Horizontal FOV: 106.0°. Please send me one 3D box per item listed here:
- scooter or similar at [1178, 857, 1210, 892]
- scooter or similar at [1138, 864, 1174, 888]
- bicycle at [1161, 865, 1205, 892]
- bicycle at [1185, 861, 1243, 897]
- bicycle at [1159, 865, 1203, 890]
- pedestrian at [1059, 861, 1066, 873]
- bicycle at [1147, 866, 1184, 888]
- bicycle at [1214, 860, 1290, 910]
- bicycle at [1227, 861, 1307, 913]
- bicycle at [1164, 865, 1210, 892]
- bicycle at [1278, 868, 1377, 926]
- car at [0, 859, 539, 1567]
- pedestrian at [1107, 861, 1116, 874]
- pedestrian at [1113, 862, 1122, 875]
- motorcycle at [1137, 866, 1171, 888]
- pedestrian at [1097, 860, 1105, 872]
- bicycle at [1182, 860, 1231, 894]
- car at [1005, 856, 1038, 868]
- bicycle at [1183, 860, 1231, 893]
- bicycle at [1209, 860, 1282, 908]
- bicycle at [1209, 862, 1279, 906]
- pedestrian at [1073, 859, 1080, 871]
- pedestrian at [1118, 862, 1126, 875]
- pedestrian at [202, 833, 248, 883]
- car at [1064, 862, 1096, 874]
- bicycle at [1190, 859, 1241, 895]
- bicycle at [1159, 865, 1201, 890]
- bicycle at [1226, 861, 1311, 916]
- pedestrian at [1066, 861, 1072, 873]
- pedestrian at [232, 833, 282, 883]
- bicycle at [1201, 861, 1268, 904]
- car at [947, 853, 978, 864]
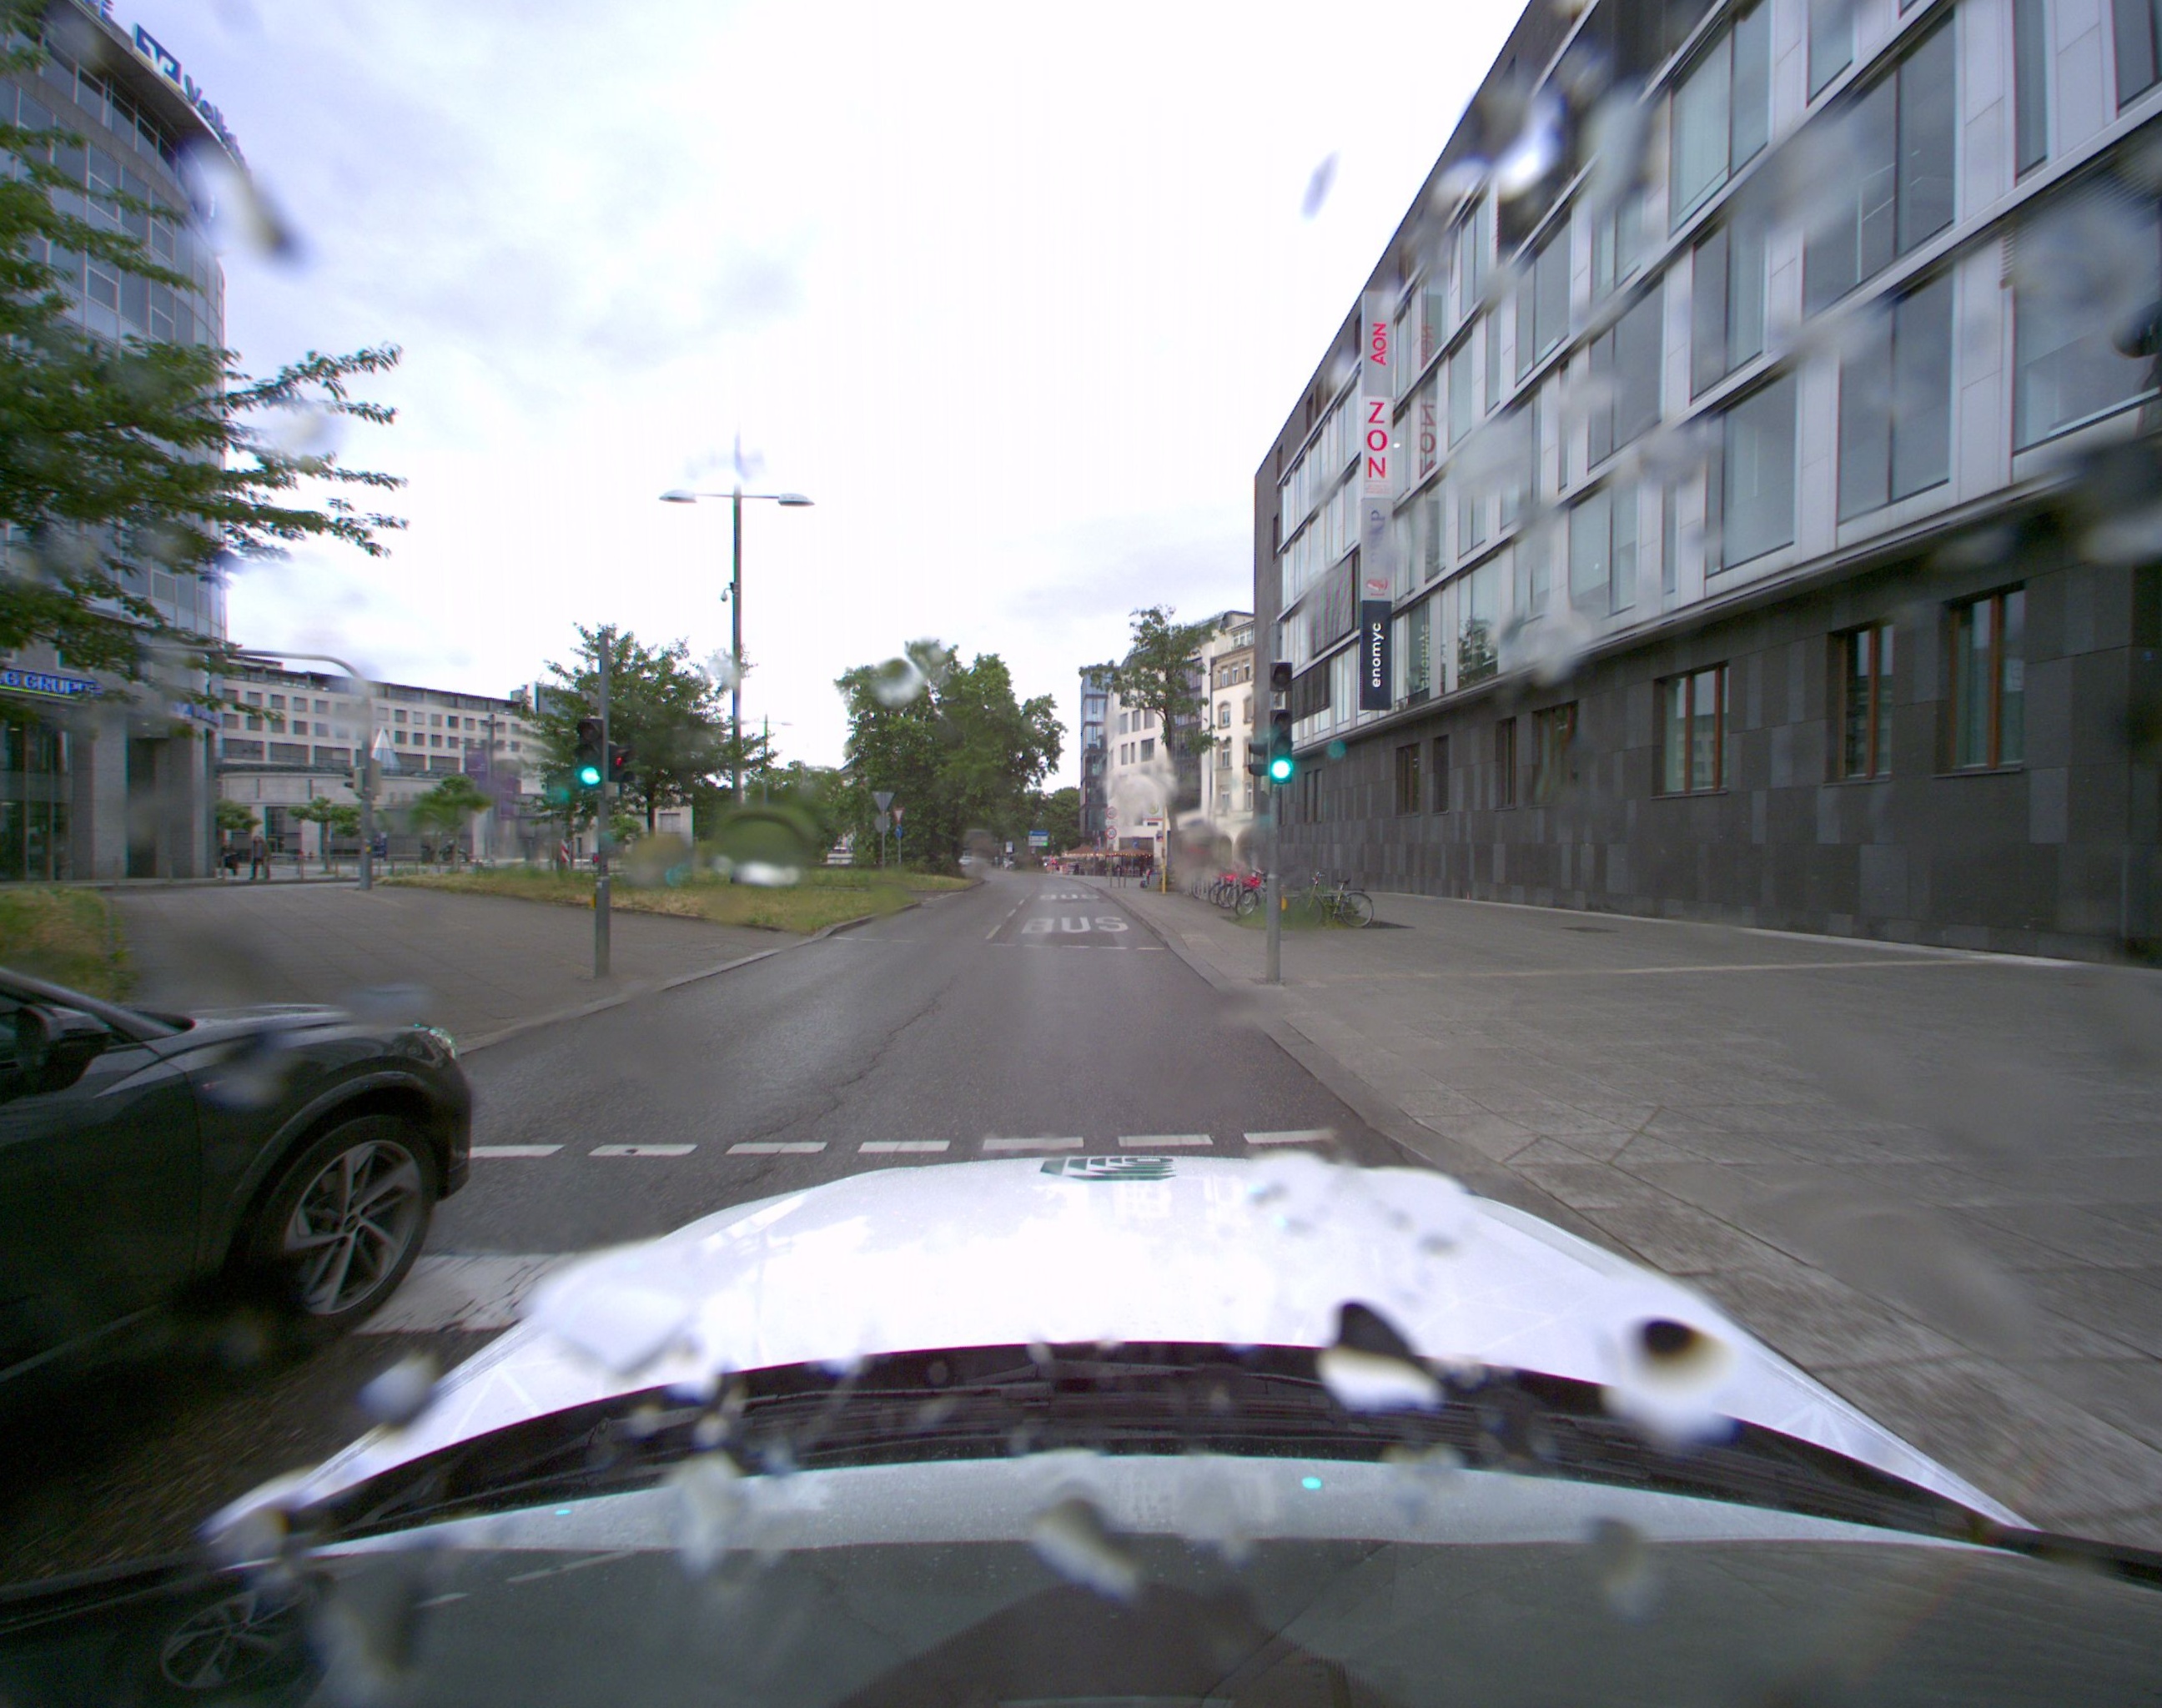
[{"bbox_3d":[4.093,0.734,29.589,1.105,1.258,0.301,0,-2,-9],"label":"scooter or similar"},{"bbox_3d":[4.061,1.186,44.110,1.790,1.243,0.594,2,-2,-8],"label":"scooter or similar"},{"bbox_3d":[4.341,1.045,34.765,1.792,1.068,0.555,2,-2,-7],"label":"bicycle"},{"bbox_3d":[4.232,0.796,25.964,1.705,1.140,0.687,0,-2,-9],"label":"bicycle"},{"bbox_3d":[4.355,1.020,35.566,1.792,1.068,0.555,2,-2,-7],"label":"bicycle"},{"bbox_3d":[-2.128,1.493,93.402,0.605,1.326,0.566,3,-1,-6],"label":"pedestrian"},{"bbox_3d":[4.381,1.202,42.126,1.793,1.108,0.668,2,-2,-8],"label":"bicycle"},{"bbox_3d":[4.291,0.767,20.484,1.729,1.183,0.687,-1,0,-9],"label":"bicycle"},{"bbox_3d":[4.426,0.760,19.397,1.729,1.183,0.687,-1,0,-9],"label":"bicycle"},{"bbox_3d":[4.406,1.008,33.926,1.792,1.068,0.555,2,-2,-7],"label":"bicycle"},{"bbox_3d":[4.831,0.837,16.024,1.729,1.070,0.687,-1,0,-9],"label":"bicycle"},{"bbox_3d":[-3.239,0.770,1.351,1.856,1.518,4.342,0,0,-2],"label":"car"},{"bbox_3d":[3.021,1.340,80.406,0.773,1.326,0.634,3,-1,-7],"label":"pedestrian"},{"bbox_3d":[3.918,1.548,87.002,0.630,1.326,0.630,3,-1,-27],"label":"pedestrian"},{"bbox_3d":[4.027,1.265,45.092,1.790,1.140,0.594,2,-2,-8],"label":"motorcycle"},{"bbox_3d":[2.301,1.383,95.737,0.816,1.326,0.634,3,-1,-6],"label":"pedestrian"},{"bbox_3d":[4.238,0.772,27.543,1.533,1.140,0.687,0,-2,-9],"label":"bicycle"},{"bbox_3d":[-8.890,1.251,122.150,4.723,1.691,2.003,1,0,-3],"label":"car"},{"bbox_3d":[4.379,0.795,28.440,1.533,1.140,0.660,0,-2,-9],"label":"bicycle"},{"bbox_3d":[4.281,0.774,21.284,1.729,1.183,0.687,-1,0,-9],"label":"bicycle"},{"bbox_3d":[4.411,0.790,22.094,1.729,1.140,0.687,-1,0,-9],"label":"bicycle"},{"bbox_3d":[-0.522,1.255,95.365,0.816,1.326,0.634,3,-1,-6],"label":"pedestrian"},{"bbox_3d":[4.300,1.488,85.681,0.630,1.326,0.630,3,-1,-27],"label":"pedestrian"},{"bbox_3d":[-35.100,0.168,33.411,0.851,2.014,1.030,0,-1,-15],"label":"pedestrian"},{"bbox_3d":[-0.150,2.108,124.285,4.723,1.691,2.003,1,0,-3],"label":"car"},{"bbox_3d":[4.419,0.752,26.782,1.533,1.140,0.687,0,-2,-9],"label":"bicycle"},{"bbox_3d":[4.528,1.090,37.457,1.793,1.108,0.668,2,-2,-8],"label":"bicycle"},{"bbox_3d":[4.191,0.759,18.250,1.729,1.183,0.687,-1,0,-9],"label":"bicycle"},{"bbox_3d":[-1.343,1.532,93.485,0.605,1.326,0.566,3,-1,-6],"label":"pedestrian"},{"bbox_3d":[-34.125,0.165,33.758,1.054,2.014,1.030,0,-1,-15],"label":"pedestrian"},{"bbox_3d":[4.303,0.794,22.845,1.729,1.140,0.687,-1,0,-9],"label":"bicycle"},{"bbox_3d":[-18.593,0.698,127.791,4.306,1.666,1.957,0,-1,8],"label":"car"}]
